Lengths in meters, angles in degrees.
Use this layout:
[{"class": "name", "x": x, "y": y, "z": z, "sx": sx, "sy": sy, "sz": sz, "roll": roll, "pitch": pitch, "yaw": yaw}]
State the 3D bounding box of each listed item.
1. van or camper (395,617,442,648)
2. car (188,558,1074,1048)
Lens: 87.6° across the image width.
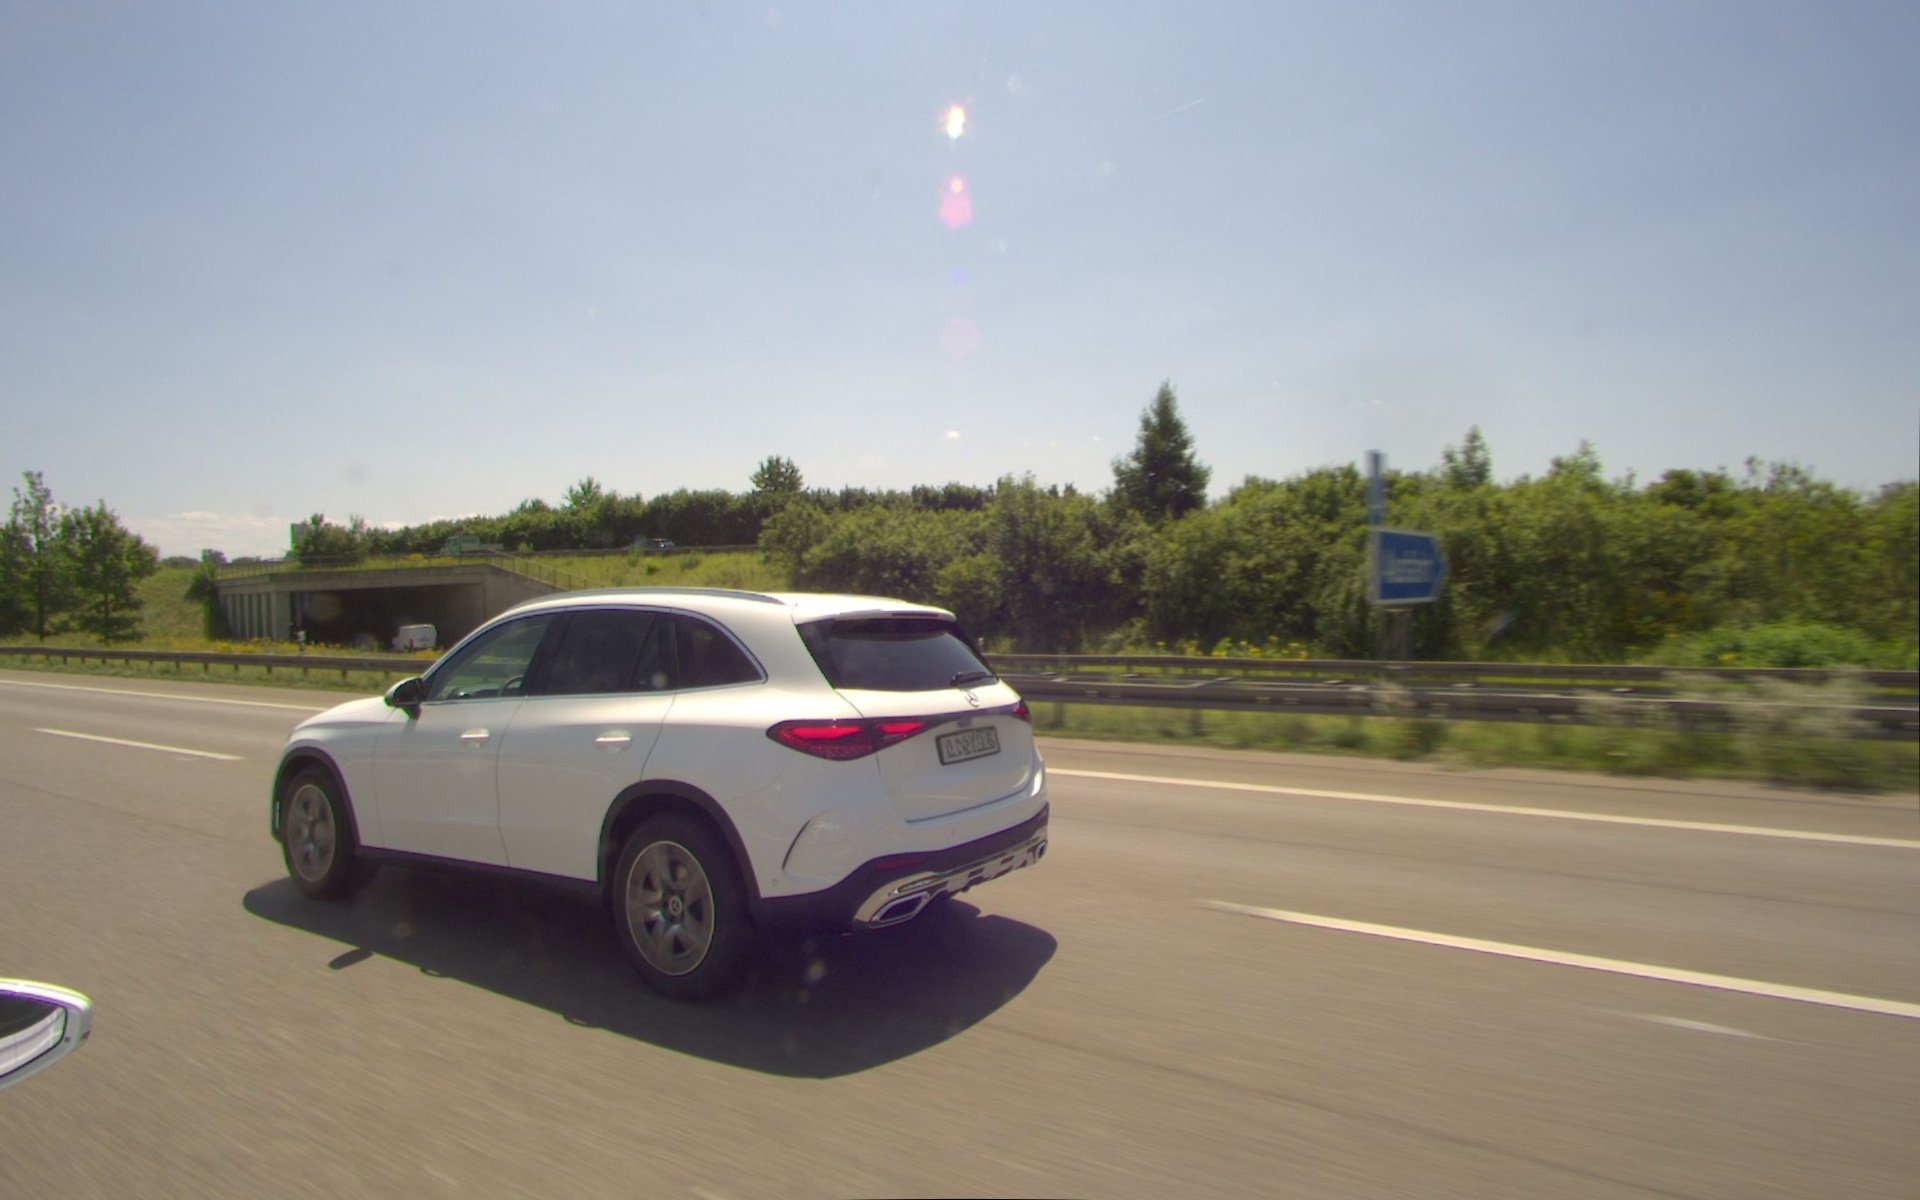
[{"class": "van or camper", "x": -37.636, "y": 2.283, "z": 69.601, "sx": 2.138, "sy": 2.039, "sz": 4.271, "roll": 0, "pitch": -2, "yaw": -39}, {"class": "car", "x": -2.021, "y": 0.785, "z": 5.516, "sx": 4.926, "sy": 1.668, "sz": 1.895, "roll": -2, "pitch": -2, "yaw": 31}]
